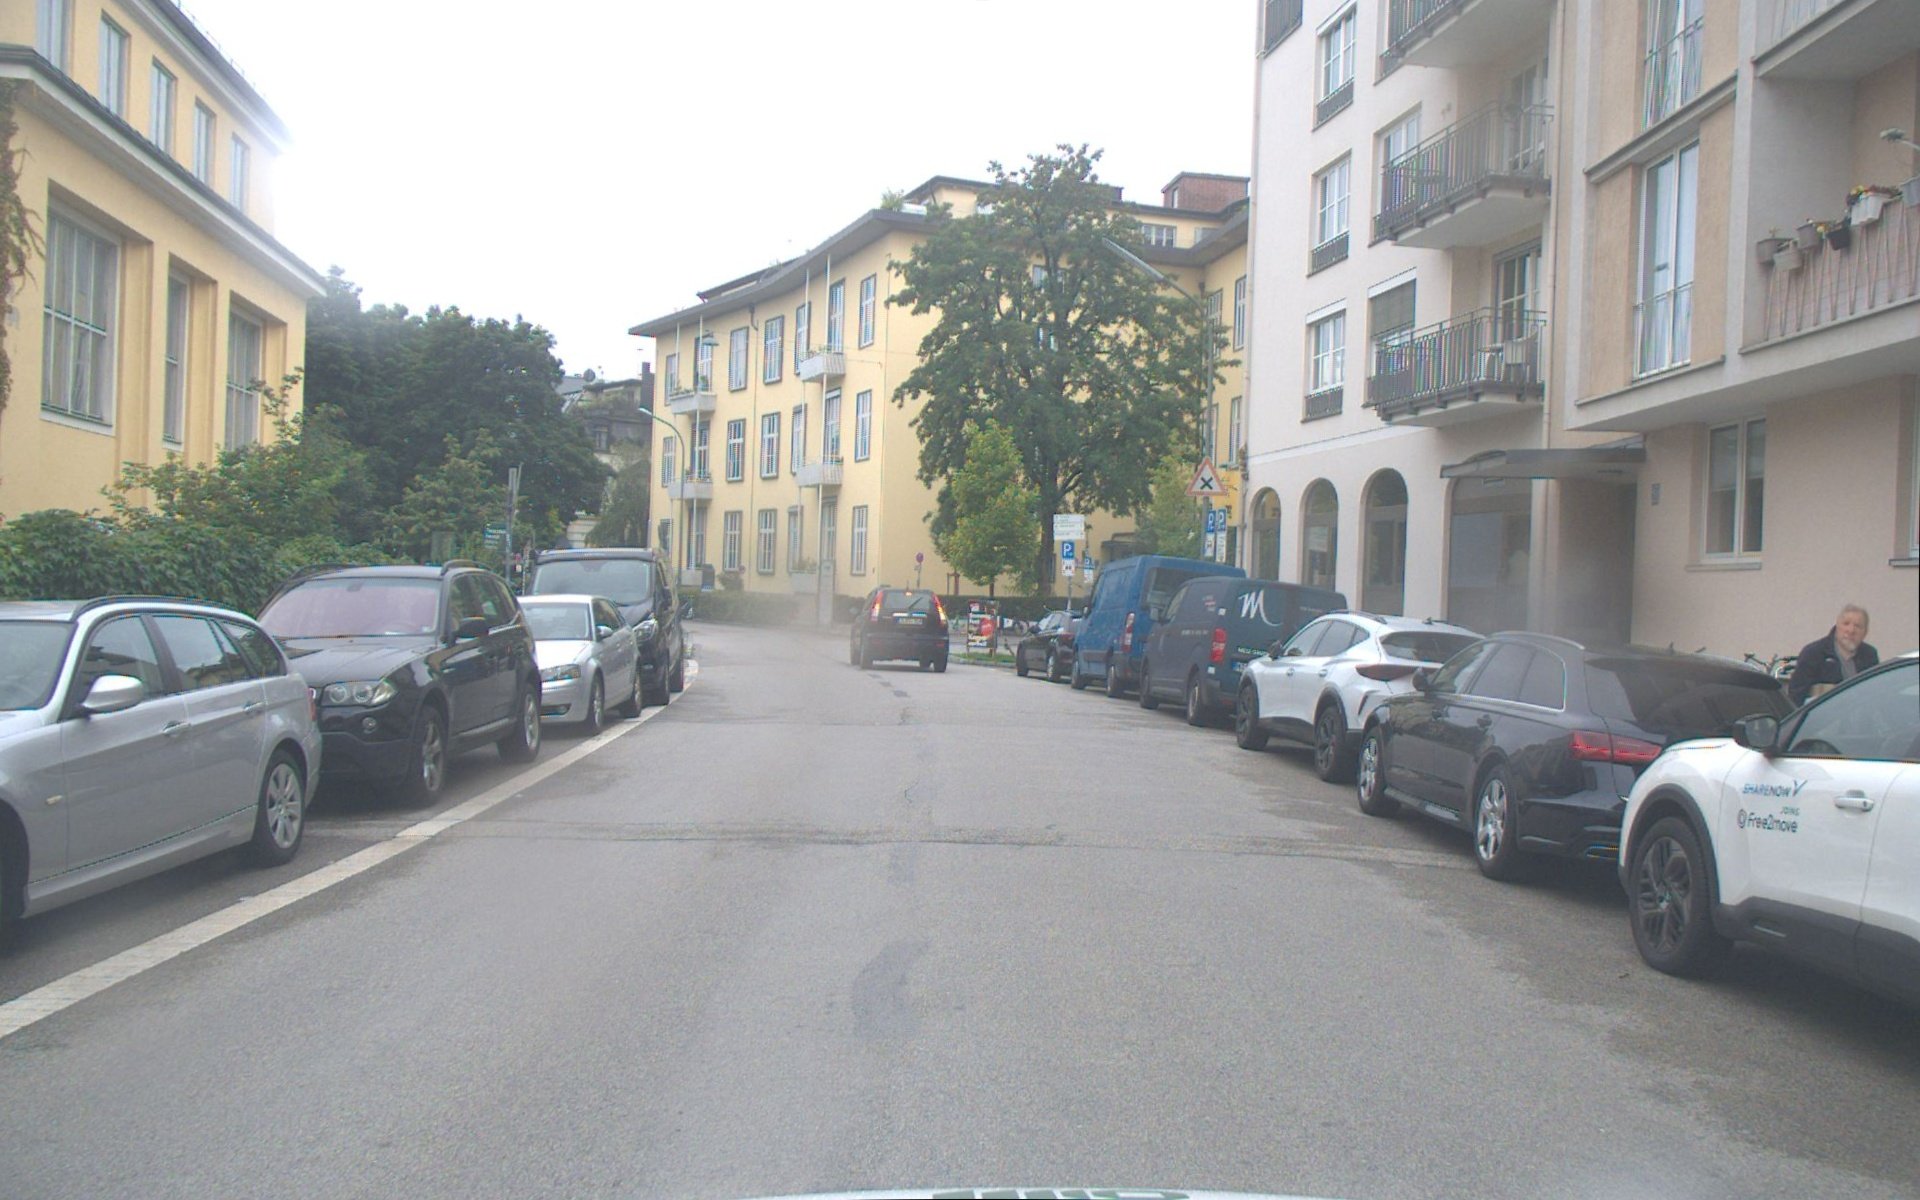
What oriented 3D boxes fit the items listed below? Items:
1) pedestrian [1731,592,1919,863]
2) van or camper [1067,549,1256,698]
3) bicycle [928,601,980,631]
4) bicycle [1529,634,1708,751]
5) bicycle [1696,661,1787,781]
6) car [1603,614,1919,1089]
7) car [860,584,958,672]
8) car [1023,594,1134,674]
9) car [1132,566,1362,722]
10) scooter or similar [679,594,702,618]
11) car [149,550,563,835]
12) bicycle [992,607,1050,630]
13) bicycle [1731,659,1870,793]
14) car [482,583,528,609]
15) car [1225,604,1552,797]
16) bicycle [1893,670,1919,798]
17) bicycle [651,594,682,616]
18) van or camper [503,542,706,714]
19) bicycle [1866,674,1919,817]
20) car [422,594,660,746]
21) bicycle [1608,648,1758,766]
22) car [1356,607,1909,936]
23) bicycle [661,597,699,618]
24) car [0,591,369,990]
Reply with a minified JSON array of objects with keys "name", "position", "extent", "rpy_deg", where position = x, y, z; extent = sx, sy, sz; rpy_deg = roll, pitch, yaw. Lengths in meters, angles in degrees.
[{"name":"pedestrian","position":[5.995,0.812,11.205],"extent":[0.880,1.717,1.319],"rpy_deg":[1,0,-2]},{"name":"van or camper","position":[3.271,0.335,28.024],"extent":[2.020,2.270,5.431],"rpy_deg":[0,0,-6]},{"name":"bicycle","position":[-0.233,0.635,65.610],"extent":[2.177,1.136,0.606],"rpy_deg":[2,0,42]},{"name":"bicycle","position":[7.679,1.051,19.427],"extent":[1.123,1.207,2.206],"rpy_deg":[2,0,-2]},{"name":"bicycle","position":[7.400,1.124,15.694],"extent":[0.414,1.041,1.199],"rpy_deg":[0,0,6]},{"name":"car","position":[4.058,0.916,5.874],"extent":[1.704,1.525,4.218],"rpy_deg":[5,0,-2]},{"name":"car","position":[-1.086,0.539,35.303],"extent":[1.955,1.723,4.379],"rpy_deg":[0,1,-2]},{"name":"car","position":[2.408,0.655,34.365],"extent":[1.670,1.544,3.954],"rpy_deg":[0,1,-6]},{"name":"car","position":[3.686,0.510,22.203],"extent":[1.925,1.848,4.932],"rpy_deg":[0,0,-4]},{"name":"scooter or similar","position":[-13.190,0.300,80.978],"extent":[0.485,1.128,1.410],"rpy_deg":[1,1,20]},{"name":"car","position":[-4.307,0.557,12.558],"extent":[1.587,1.760,4.424],"rpy_deg":[-1,1,-1]},{"name":"bicycle","position":[2.377,0.725,64.410],"extent":[2.163,0.792,0.611],"rpy_deg":[2,0,13]},{"name":"bicycle","position":[8.021,1.178,15.838],"extent":[0.522,1.153,1.408],"rpy_deg":[1,1,-4]},{"name":"car","position":[-29.214,-0.269,106.021],"extent":[1.844,1.662,4.240],"rpy_deg":[0,0,-30]},{"name":"car","position":[4.030,0.870,16.317],"extent":[1.705,1.564,4.268],"rpy_deg":[2,0,-6]},{"name":"bicycle","position":[8.158,1.122,13.414],"extent":[0.382,1.041,1.401],"rpy_deg":[0,0,0]},{"name":"bicycle","position":[-14.947,0.250,84.285],"extent":[0.564,1.104,1.932],"rpy_deg":[1,1,24]},{"name":"van or camper","position":[-4.767,0.324,22.853],"extent":[1.921,2.101,4.751],"rpy_deg":[-1,1,-2]},{"name":"bicycle","position":[7.439,1.120,12.520],"extent":[0.382,1.041,1.401],"rpy_deg":[0,0,0]},{"name":"car","position":[-4.371,0.658,17.835],"extent":[1.587,1.402,4.071],"rpy_deg":[-1,1,-1]},{"name":"bicycle","position":[7.759,1.124,17.785],"extent":[0.528,1.153,1.391],"rpy_deg":[1,1,-36]},{"name":"car","position":[4.012,0.895,10.787],"extent":[1.703,1.525,4.495],"rpy_deg":[4,0,0]},{"name":"bicycle","position":[-13.902,0.359,82.195],"extent":[1.808,1.023,0.570],"rpy_deg":[1,1,-35]},{"name":"car","position":[-4.335,0.710,7.474],"extent":[1.666,1.447,4.425],"rpy_deg":[-1,0,1]}]
